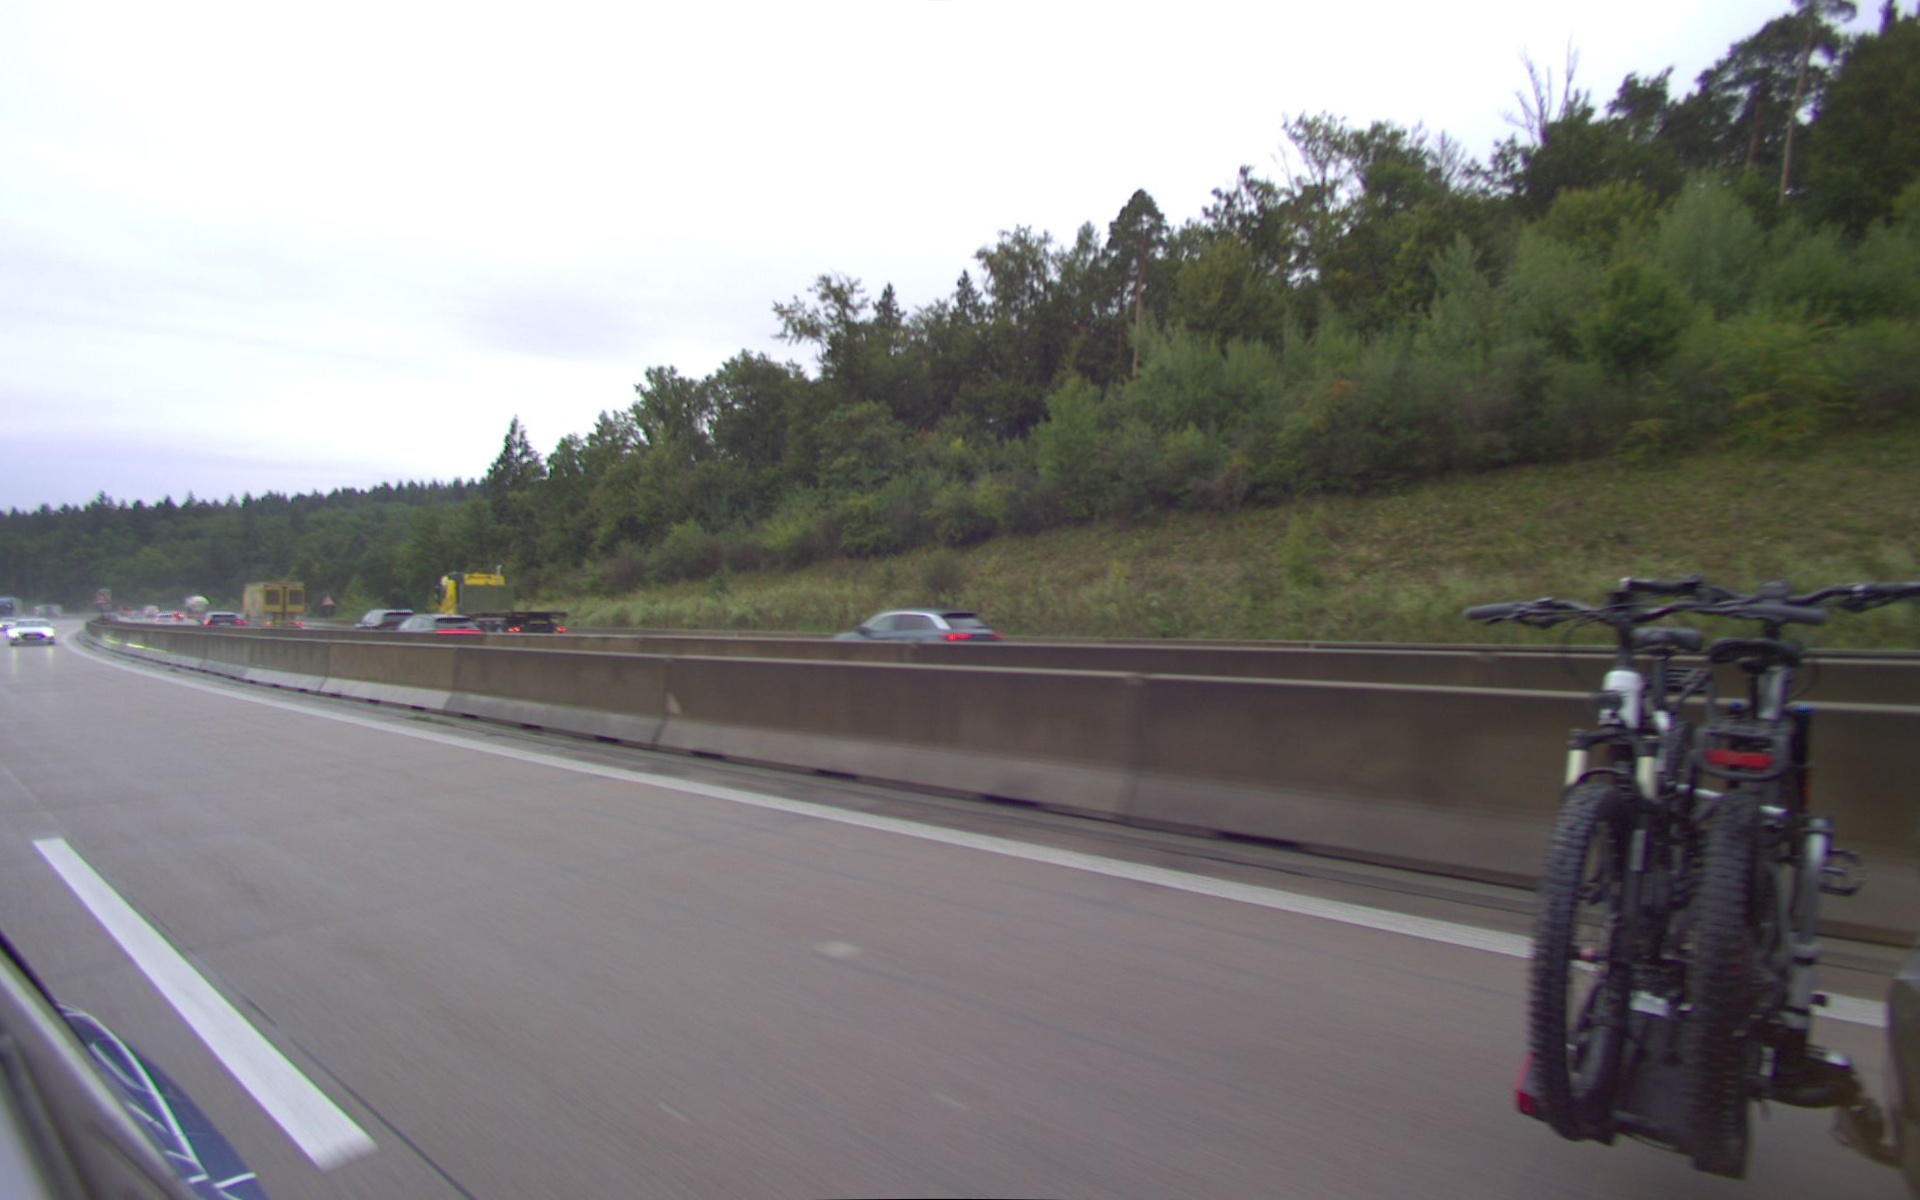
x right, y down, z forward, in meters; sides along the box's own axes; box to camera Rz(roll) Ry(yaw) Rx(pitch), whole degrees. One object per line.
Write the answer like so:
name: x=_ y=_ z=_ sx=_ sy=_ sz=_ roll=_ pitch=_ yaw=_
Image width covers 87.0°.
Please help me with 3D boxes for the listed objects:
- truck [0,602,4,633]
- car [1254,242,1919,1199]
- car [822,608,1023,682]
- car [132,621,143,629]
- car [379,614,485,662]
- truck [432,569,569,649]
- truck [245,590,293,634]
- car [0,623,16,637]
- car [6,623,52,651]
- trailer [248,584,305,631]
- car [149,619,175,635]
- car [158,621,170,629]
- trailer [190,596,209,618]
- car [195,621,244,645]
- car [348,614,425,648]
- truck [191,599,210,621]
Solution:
truck: x=-132.057 y=2.438 z=137.711 sx=2.699 sy=4.183 sz=8.626 roll=-1 pitch=-1 yaw=-45
car: x=3.556 y=0.433 z=0.802 sx=6.159 sy=1.959 sz=1.888 roll=-1 pitch=-1 yaw=41
car: x=-0.838 y=0.867 z=20.813 sx=4.081 sy=1.356 sz=1.637 roll=-1 pitch=0 yaw=39
car: x=-168.541 y=5.126 z=207.402 sx=1.637 sy=1.382 sz=4.768 roll=-1 pitch=0 yaw=-38
car: x=-16.271 y=1.137 z=31.122 sx=4.086 sy=1.356 sz=1.635 roll=-1 pitch=0 yaw=43
truck: x=-21.106 y=0.438 z=46.082 sx=2.592 sy=3.321 sz=9.387 roll=0 pitch=-1 yaw=-45
truck: x=-64.697 y=1.108 z=94.636 sx=2.988 sy=3.904 sz=8.130 roll=-1 pitch=0 yaw=-40
car: x=-98.060 y=3.088 z=103.837 sx=1.692 sy=1.418 sz=4.941 roll=-1 pitch=-1 yaw=-42
car: x=-49.847 y=1.975 z=54.139 sx=1.692 sy=1.418 sz=4.939 roll=-1 pitch=-1 yaw=-44
trailer: x=-60.926 y=0.725 z=90.001 sx=2.976 sy=3.904 sz=13.725 roll=-1 pitch=0 yaw=-39
car: x=-74.044 y=2.480 z=93.844 sx=1.633 sy=1.490 sz=4.551 roll=-1 pitch=0 yaw=-41
car: x=-147.077 y=4.537 z=186.947 sx=1.638 sy=1.382 sz=4.728 roll=-1 pitch=0 yaw=-40
trailer: x=-128.409 y=1.182 z=170.903 sx=2.512 sy=3.694 sz=8.248 roll=-1 pitch=0 yaw=-37
car: x=-43.357 y=1.899 z=59.222 sx=4.086 sy=1.356 sz=1.635 roll=-1 pitch=0 yaw=43
car: x=-25.438 y=1.347 z=44.835 sx=1.784 sy=1.356 sz=4.769 roll=-1 pitch=0 yaw=-45
truck: x=-133.407 y=1.730 z=177.721 sx=2.530 sy=3.694 sz=10.515 roll=-1 pitch=0 yaw=-37
